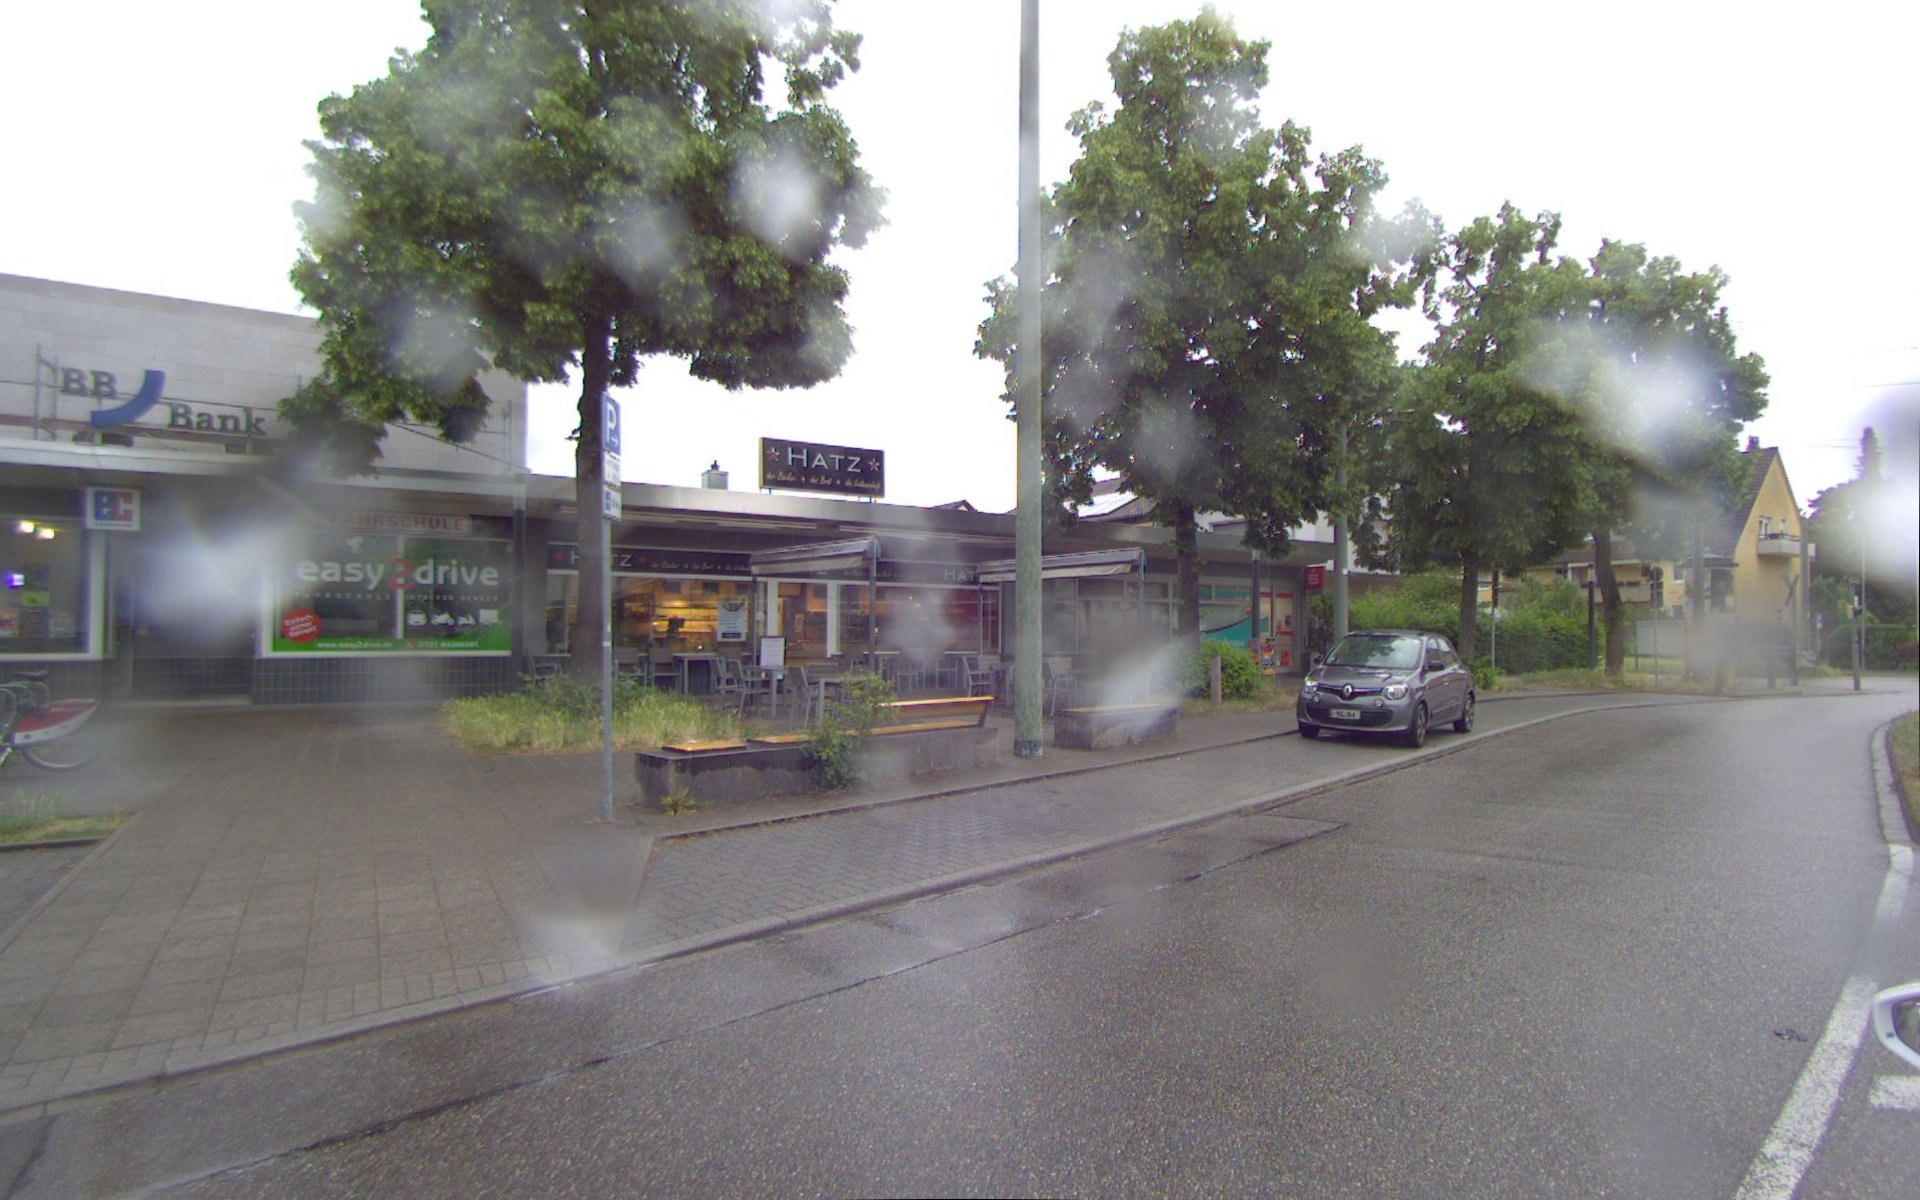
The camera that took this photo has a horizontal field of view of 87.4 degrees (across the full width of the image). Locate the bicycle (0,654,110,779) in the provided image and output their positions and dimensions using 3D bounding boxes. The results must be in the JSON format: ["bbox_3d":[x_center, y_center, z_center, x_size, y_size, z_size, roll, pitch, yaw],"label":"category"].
[{"bbox_3d":[-9.008,1.077,9.266,0.314,1.122,1.739,2,0,43],"label":"bicycle"}]

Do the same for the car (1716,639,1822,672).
[{"bbox_3d":[41.963,2.851,52.190,1.815,1.476,3.960,2,0,-35],"label":"car"}]

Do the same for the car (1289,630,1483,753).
[{"bbox_3d":[6.377,1.243,14.837,1.598,1.516,3.649,2,0,40],"label":"car"}]
